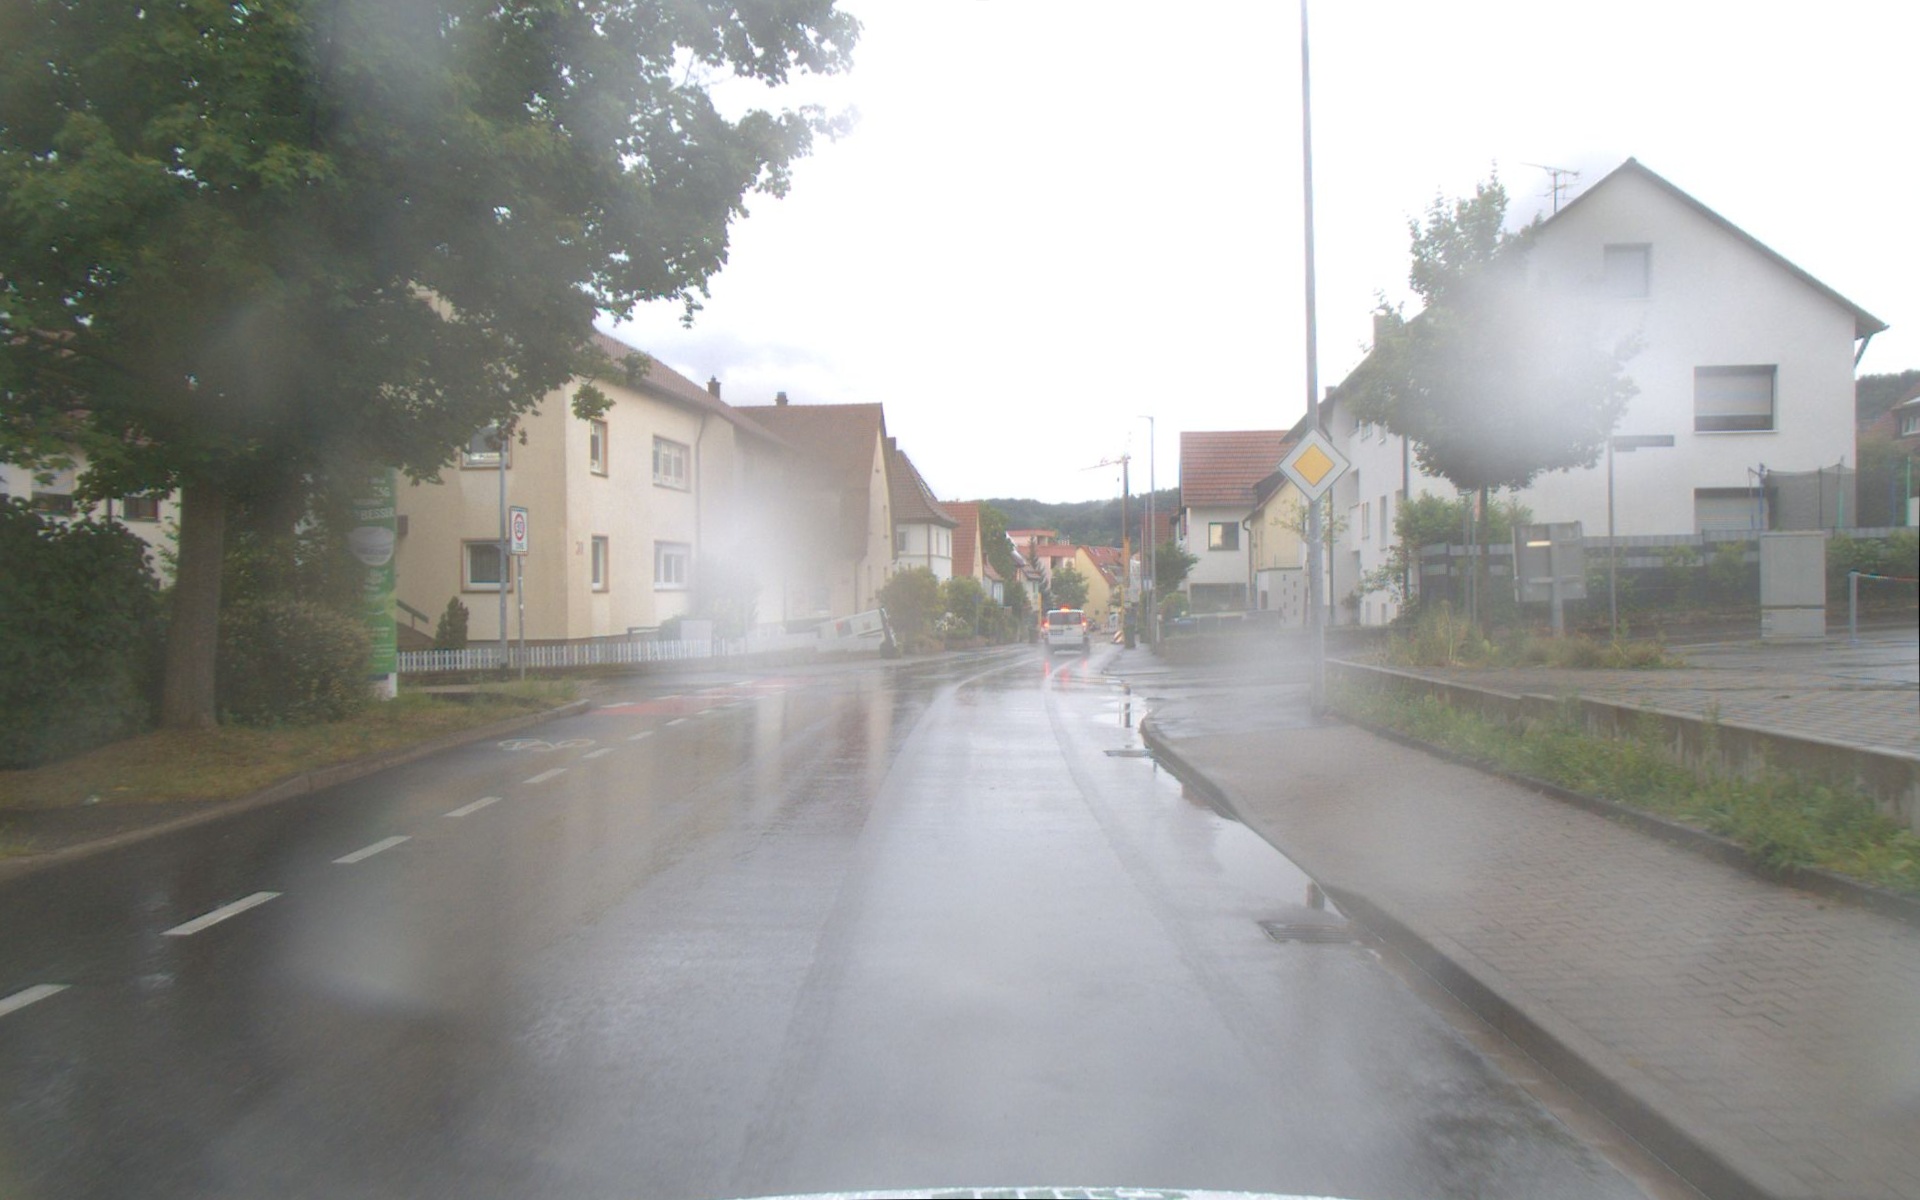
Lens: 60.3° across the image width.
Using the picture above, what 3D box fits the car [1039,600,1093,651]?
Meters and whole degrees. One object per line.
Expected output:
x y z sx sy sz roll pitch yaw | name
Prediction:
4.539 1.041 70.228 2.072 1.921 4.506 1 2 6 | car

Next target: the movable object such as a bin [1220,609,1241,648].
7.515 0.790 45.922 0.517 1.046 0.632 1 2 4 | movable object such as a bin

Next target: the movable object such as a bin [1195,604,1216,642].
6.921 0.650 46.683 0.533 1.046 0.632 1 2 4 | movable object such as a bin

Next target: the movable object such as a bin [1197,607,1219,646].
6.883 0.730 45.959 0.533 1.046 0.632 1 2 4 | movable object such as a bin

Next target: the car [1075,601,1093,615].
15.478 1.018 206.223 1.802 1.606 4.294 1 2 11 | car

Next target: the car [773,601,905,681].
-4.634 1.556 63.755 4.466 2.044 2.161 -13 0 5 | car

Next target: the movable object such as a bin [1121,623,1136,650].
8.316 1.794 81.682 0.729 1.301 0.883 -1 1 6 | movable object such as a bin

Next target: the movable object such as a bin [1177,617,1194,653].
6.269 0.974 46.033 0.416 0.957 0.508 1 2 4 | movable object such as a bin

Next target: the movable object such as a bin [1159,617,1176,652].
5.790 0.959 46.134 0.416 0.957 0.508 1 2 4 | movable object such as a bin
